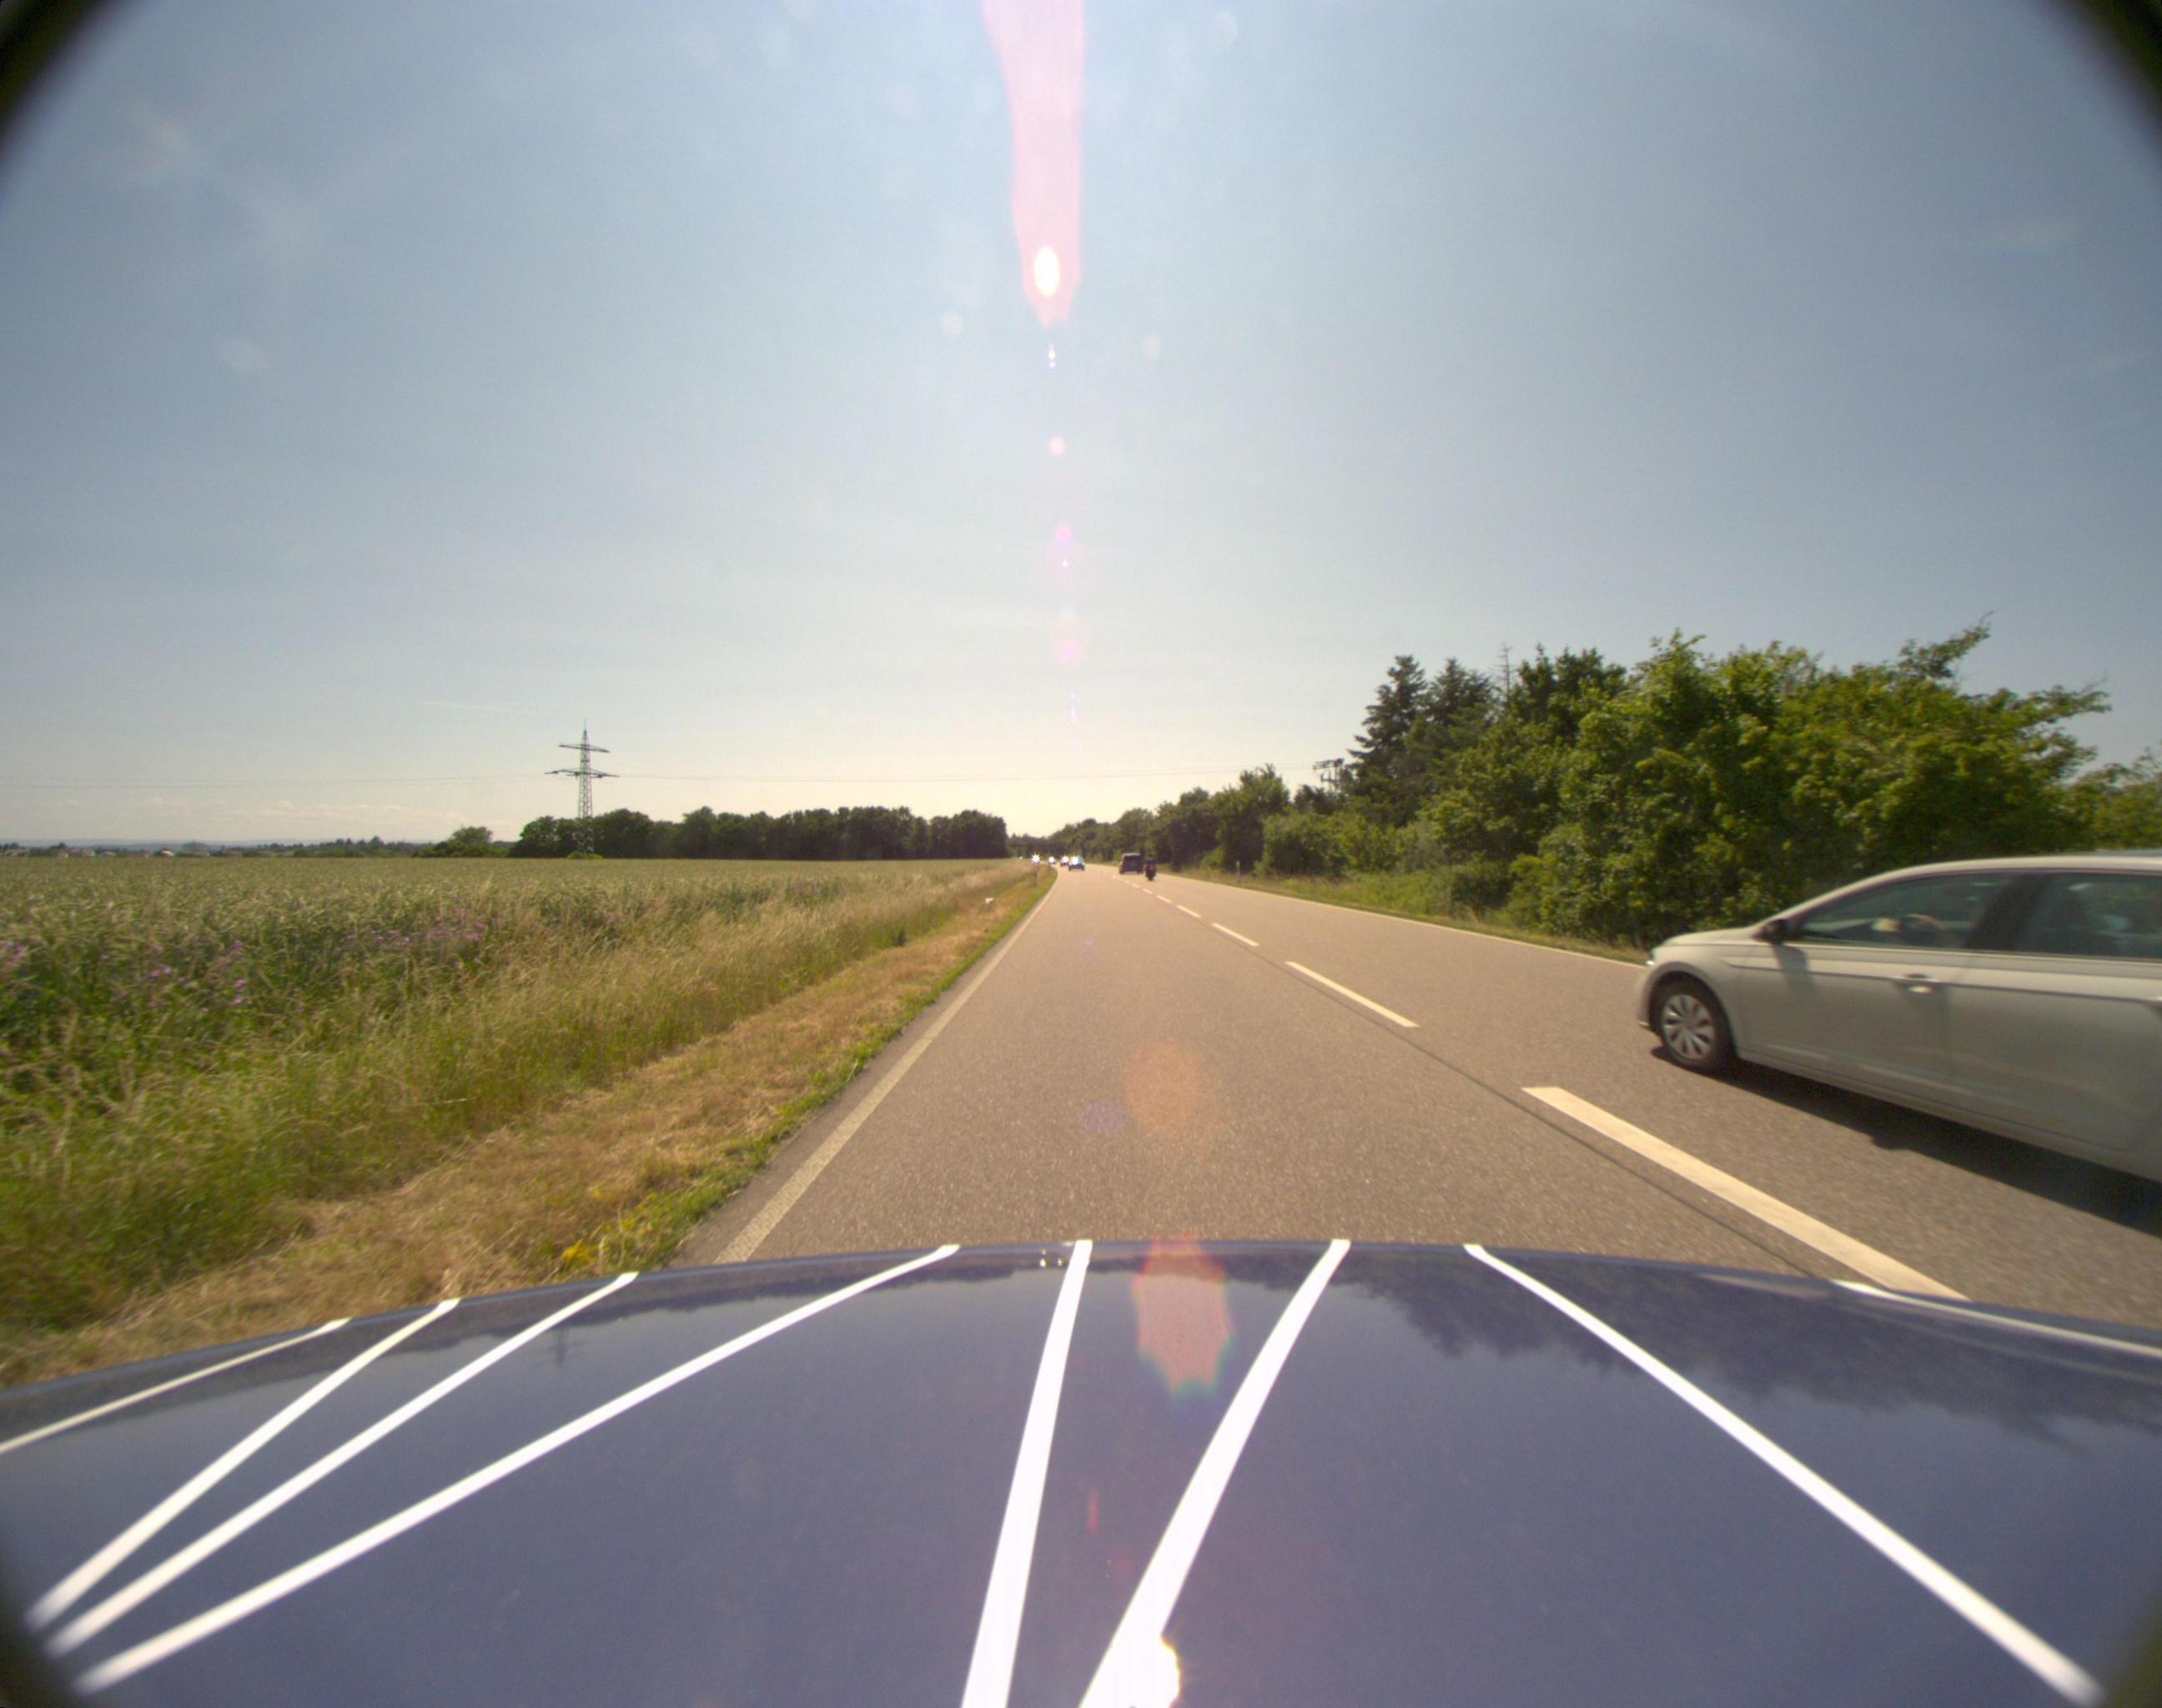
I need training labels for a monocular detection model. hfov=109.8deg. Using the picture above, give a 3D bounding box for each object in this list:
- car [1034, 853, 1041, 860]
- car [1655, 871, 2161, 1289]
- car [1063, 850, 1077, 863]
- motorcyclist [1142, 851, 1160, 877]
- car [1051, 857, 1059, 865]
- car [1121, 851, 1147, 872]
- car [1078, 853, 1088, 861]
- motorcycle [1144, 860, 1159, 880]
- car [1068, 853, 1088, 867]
[{"bbox_3d":[-13.254,0.655,229.308,1.999,2.002,3.998,1,0,-5],"label":"car"},{"bbox_3d":[4.689,0.835,3.177,1.711,1.373,3.819,-2,0,1],"label":"car"},{"bbox_3d":[-1.748,0.465,121.831,1.999,2.002,3.999,-2,0,-3],"label":"car"},{"bbox_3d":[4.158,0.568,45.130,0.837,1.466,1.817,-1,0,-2],"label":"motorcyclist"},{"bbox_3d":[-5.602,1.488,164.627,1.554,1.659,3.997,-2,1,-5],"label":"car"},{"bbox_3d":[4.479,0.639,64.520,1.823,1.691,5.001,-1,0,0],"label":"car"},{"bbox_3d":[0.394,0.572,146.907,1.703,1.557,3.670,-1,0,-2],"label":"car"},{"bbox_3d":[4.180,0.914,45.025,0.618,1.102,2.022,-2,0,-2],"label":"motorcycle"},{"bbox_3d":[-0.360,0.670,85.151,1.694,1.431,3.707,-1,0,-8],"label":"car"}]
